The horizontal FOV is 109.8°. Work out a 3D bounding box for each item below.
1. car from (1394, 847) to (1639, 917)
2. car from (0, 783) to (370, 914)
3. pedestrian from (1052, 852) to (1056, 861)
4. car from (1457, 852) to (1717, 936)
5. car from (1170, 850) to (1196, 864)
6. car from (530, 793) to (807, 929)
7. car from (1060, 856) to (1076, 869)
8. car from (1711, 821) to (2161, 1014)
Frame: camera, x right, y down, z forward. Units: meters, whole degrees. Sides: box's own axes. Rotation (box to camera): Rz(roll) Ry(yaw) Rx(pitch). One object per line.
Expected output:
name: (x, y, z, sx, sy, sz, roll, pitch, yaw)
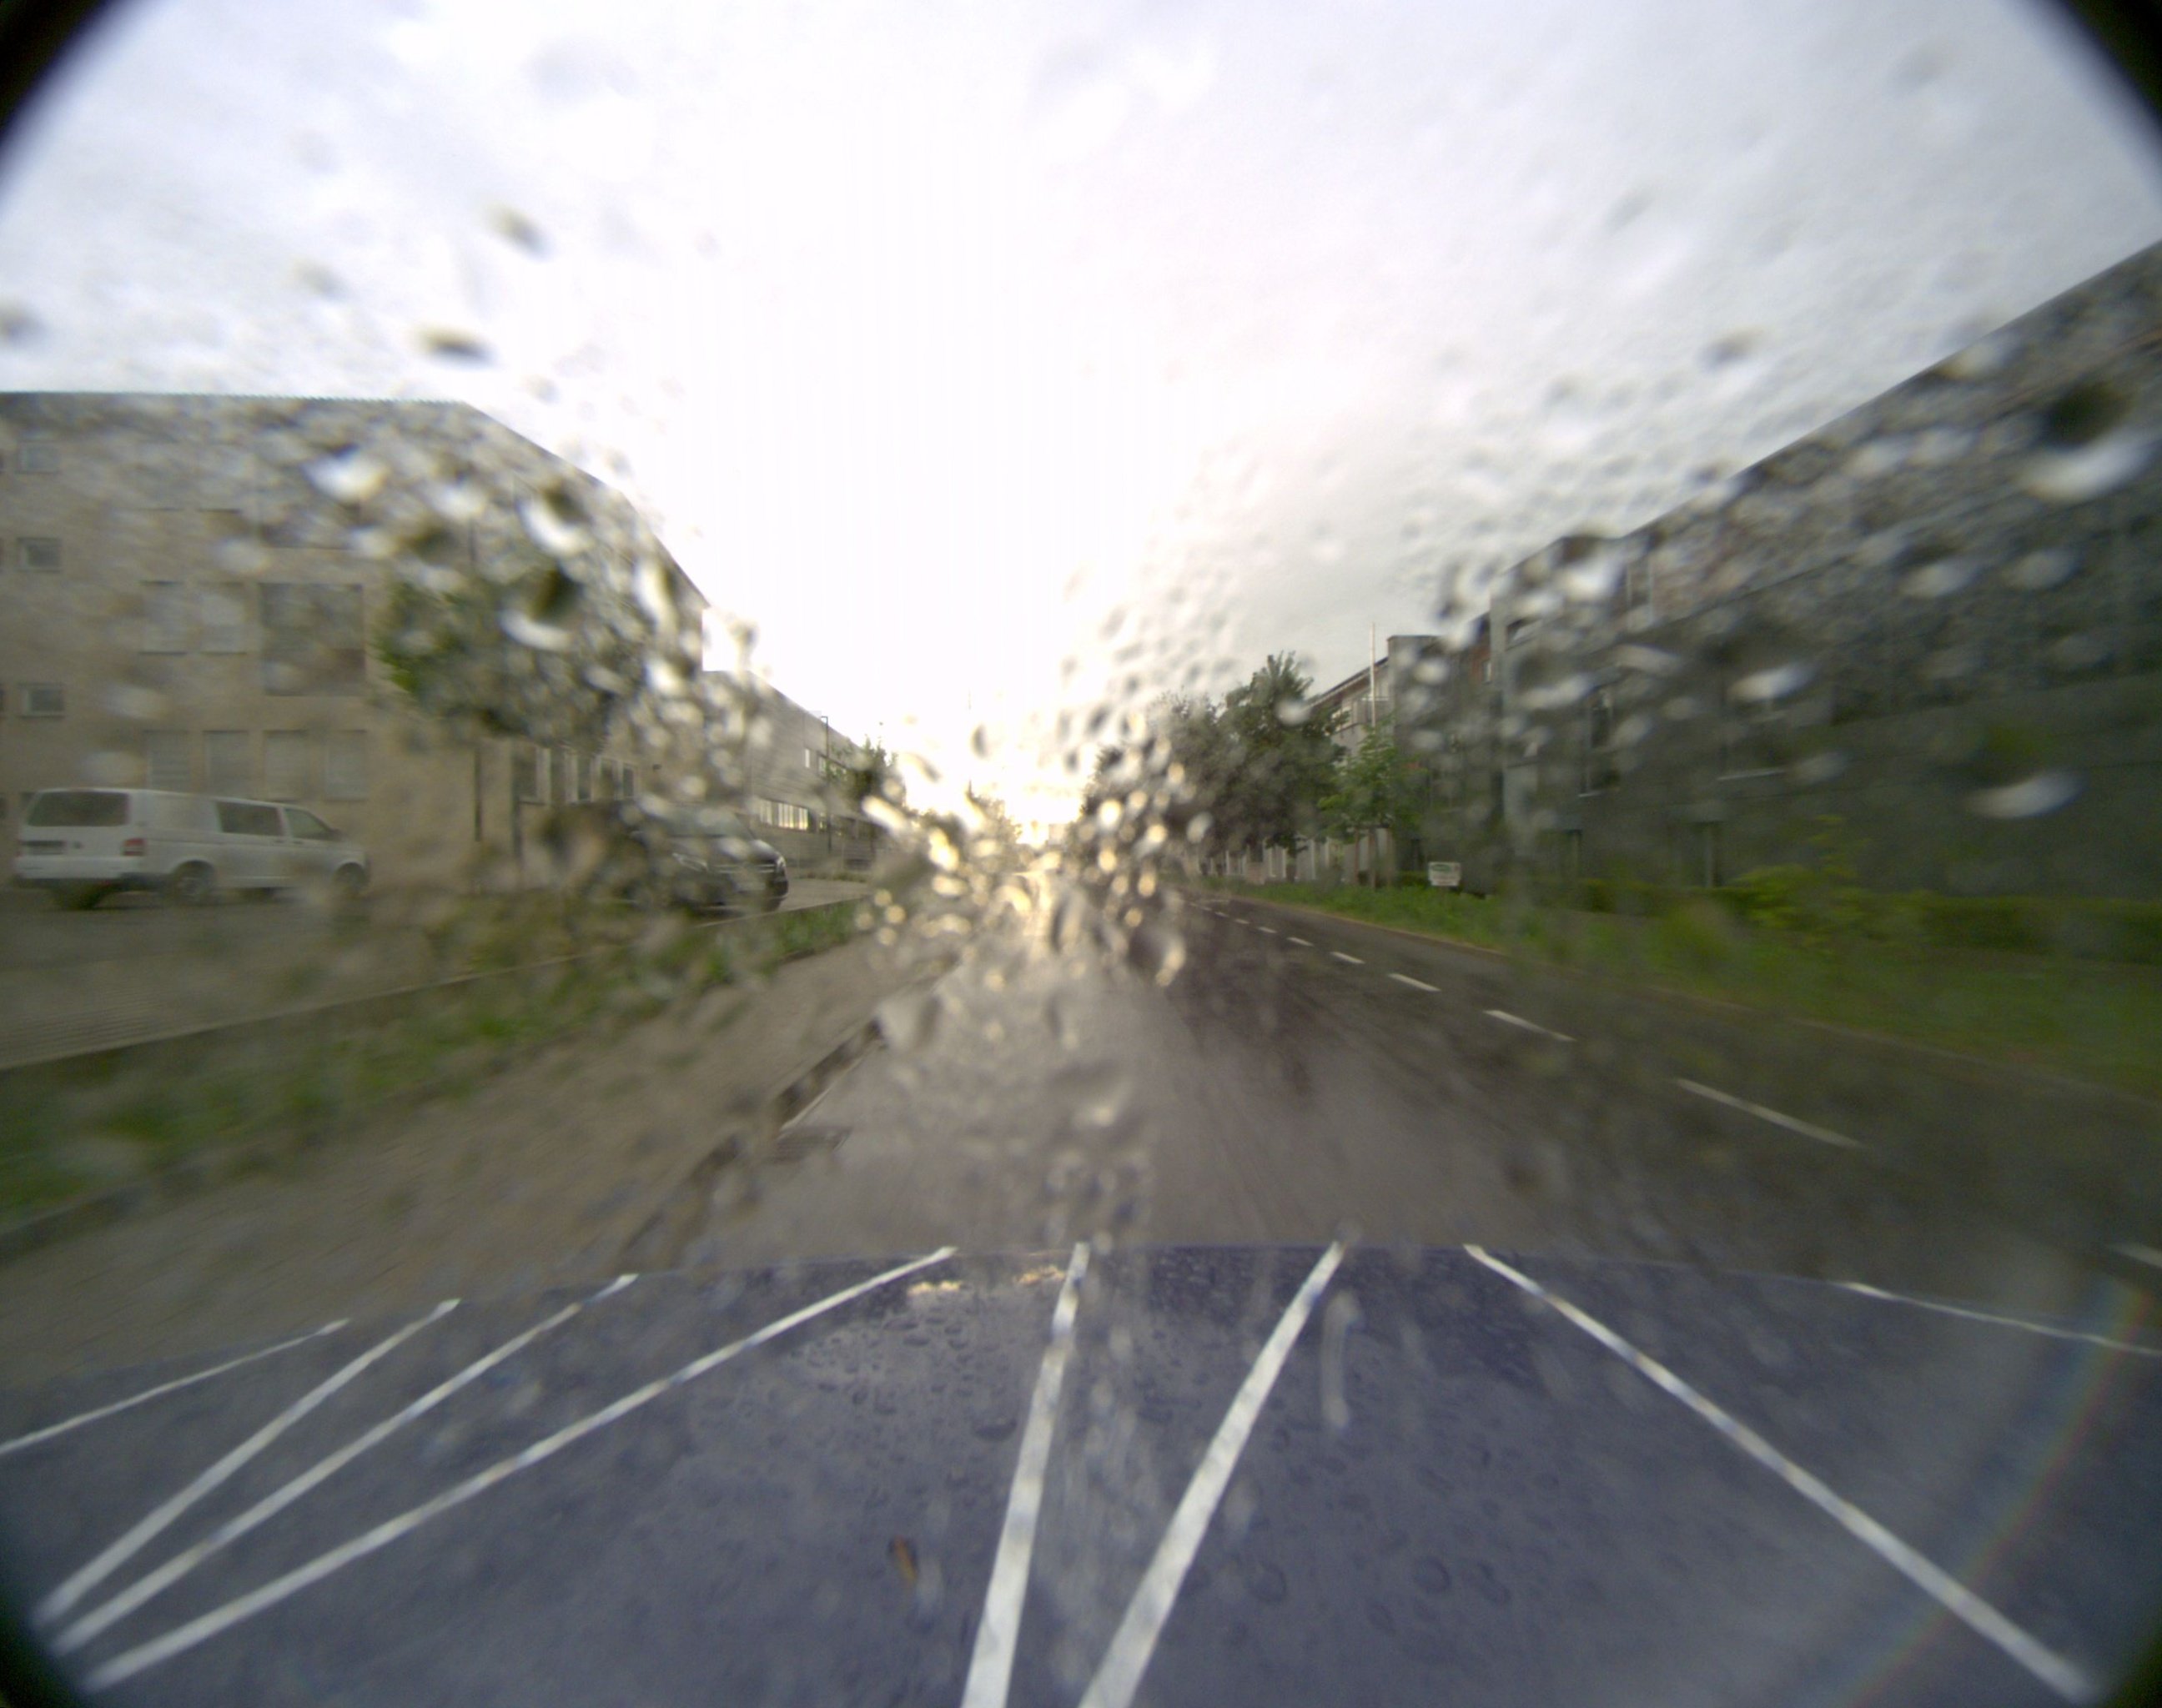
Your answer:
car: (8.420, 0.517, 14.905, 3.910, 1.277, 1.581, 0, 1, -2)
car: (-15.992, -0.035, 13.983, 1.799, 2.001, 4.599, 0, -1, -5)
pedestrian: (-5.585, 0.509, 158.273, 0.748, 1.826, 0.889, 0, -1, -13)
car: (7.453, 0.562, 11.377, 2.916, 1.152, 1.471, 0, 1, -2)
car: (14.281, 0.456, 107.102, 2.040, 1.811, 5.605, -2, -1, -9)
car: (-7.116, 0.045, 12.903, 5.100, 1.908, 2.058, 1, 2, 35)
car: (-1.755, 1.175, 100.888, 1.856, 1.545, 4.501, -2, -1, -3)
car: (7.253, 0.459, 6.345, 2.916, 1.447, 1.252, 0, 3, -2)
